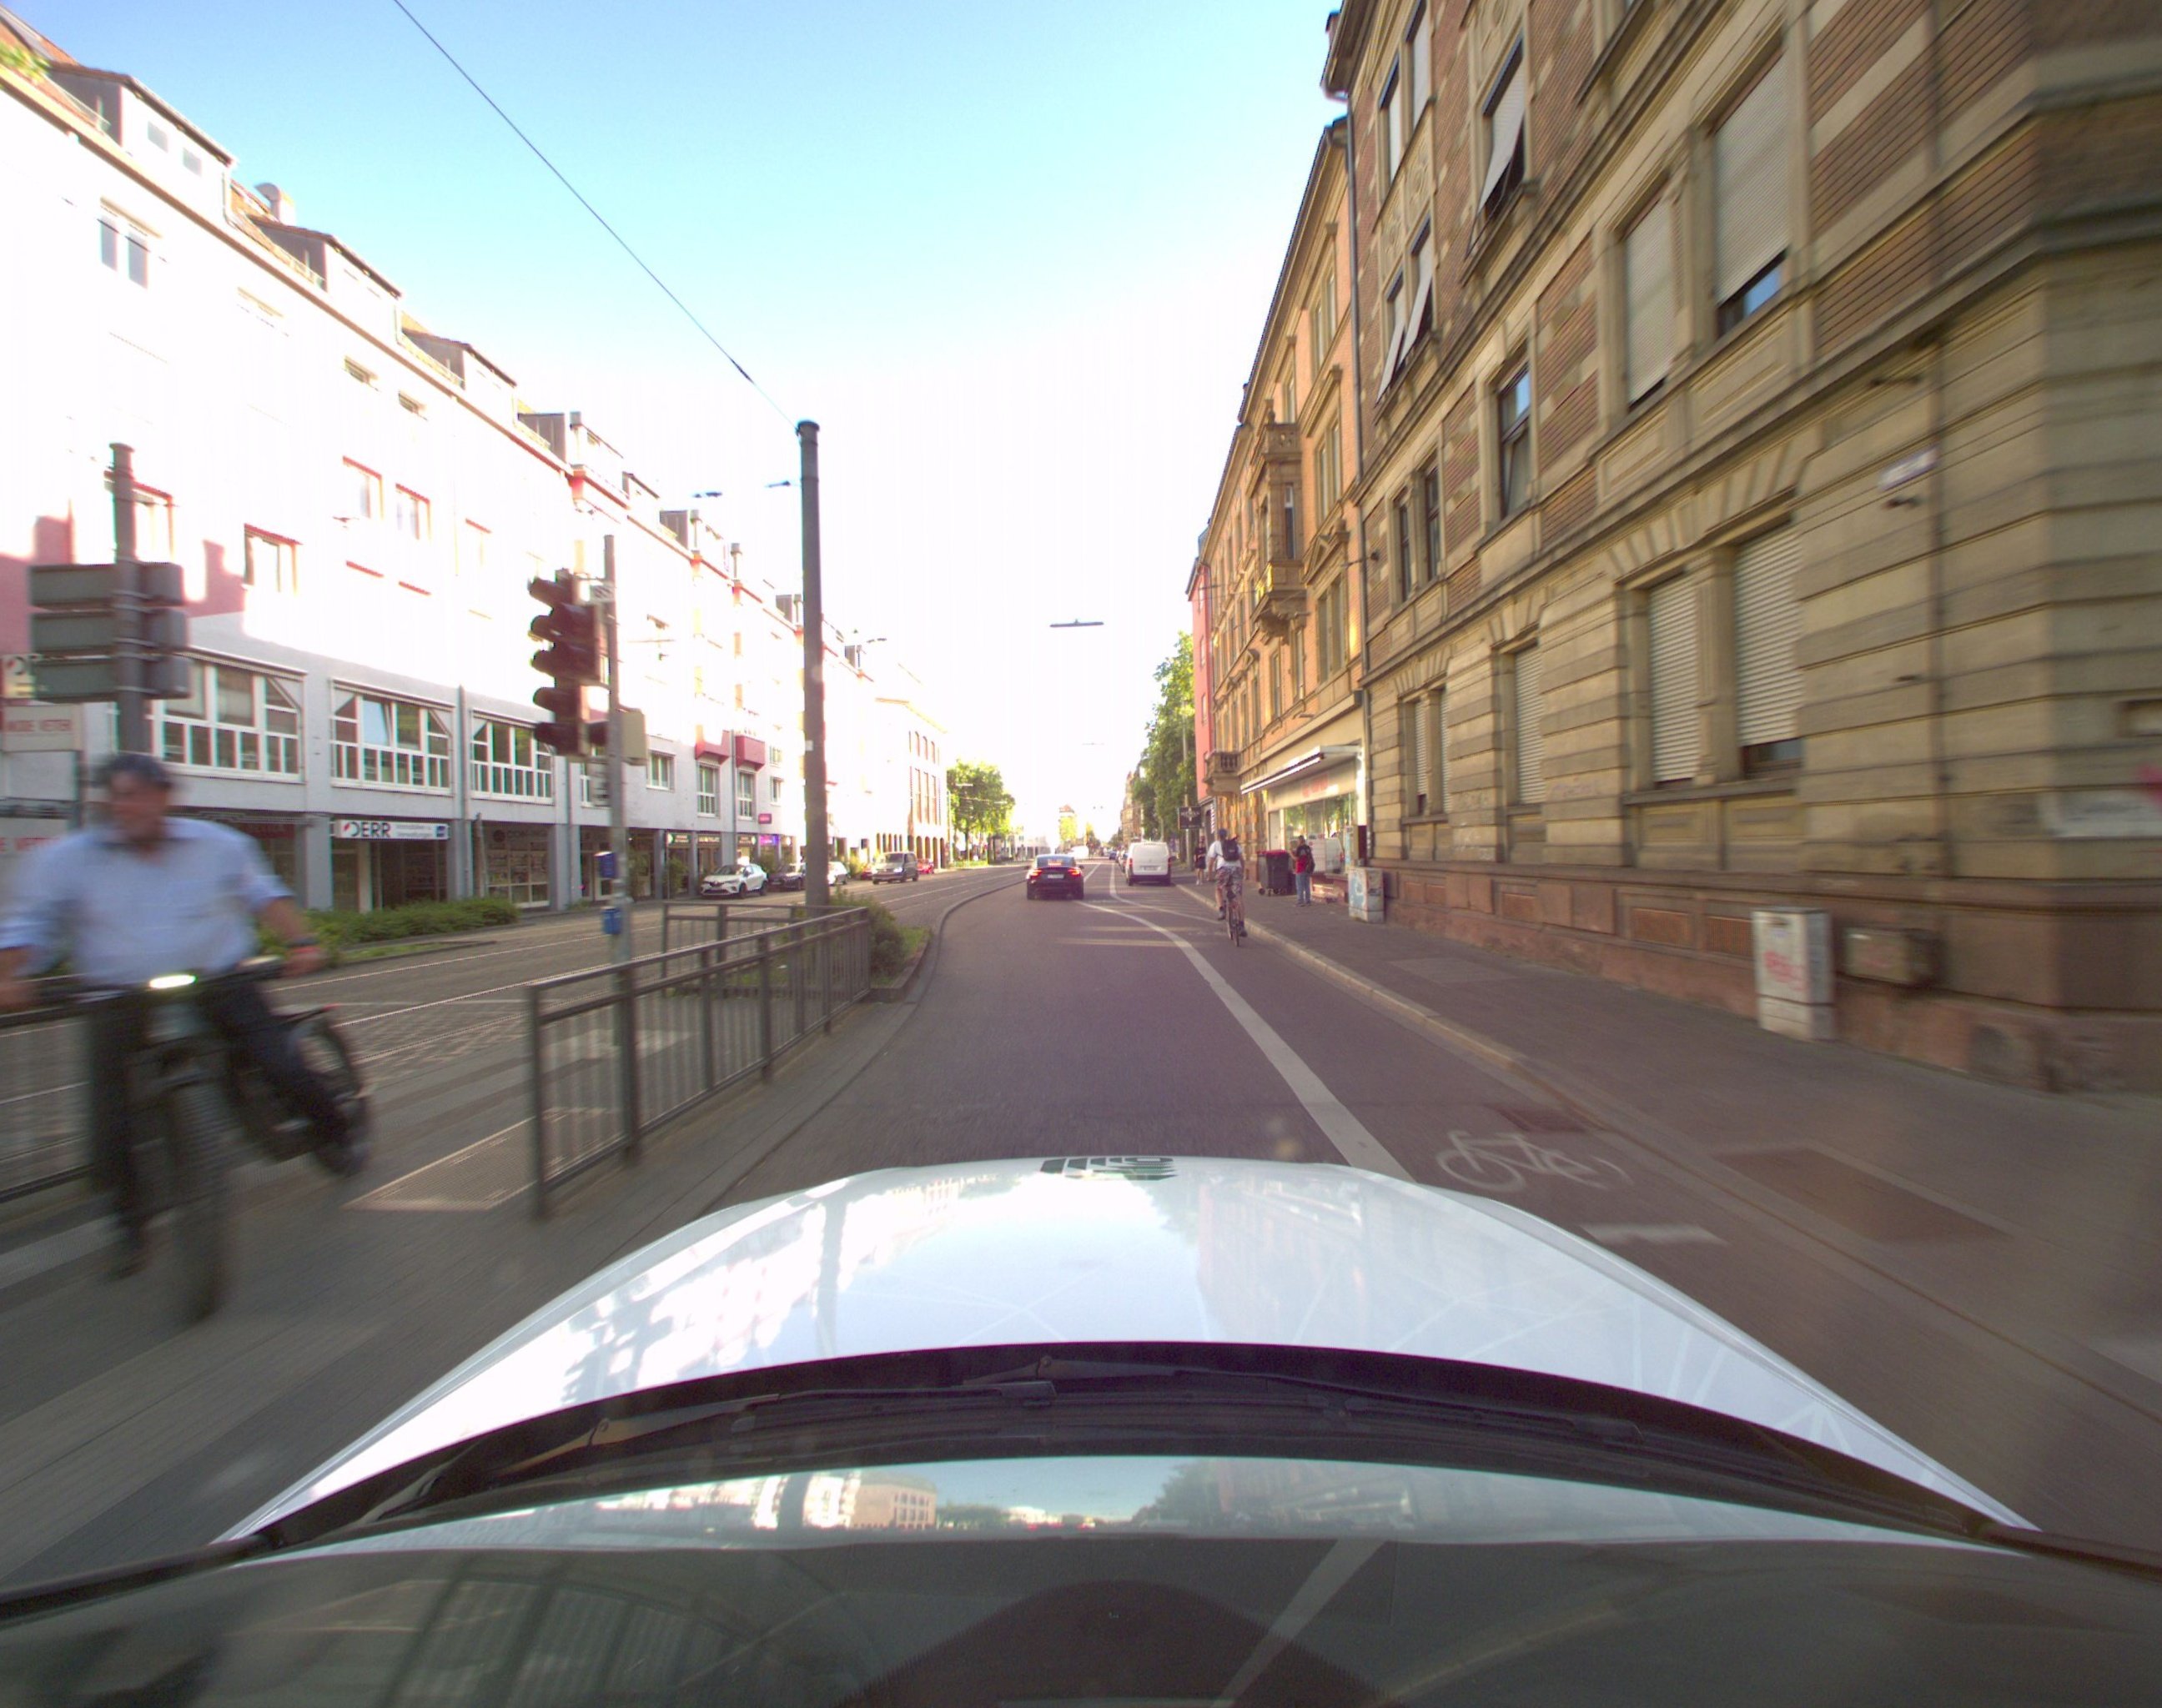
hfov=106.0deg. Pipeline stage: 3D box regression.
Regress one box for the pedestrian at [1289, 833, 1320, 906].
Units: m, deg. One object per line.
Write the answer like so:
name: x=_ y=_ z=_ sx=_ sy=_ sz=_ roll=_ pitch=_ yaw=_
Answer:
pedestrian: x=5.438 y=0.366 z=19.810 sx=0.465 sy=1.728 sz=0.591 roll=-2 pitch=1 yaw=38

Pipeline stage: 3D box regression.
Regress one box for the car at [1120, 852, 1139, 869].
car: x=4.698 y=0.587 z=79.211 sx=1.708 sy=1.590 sz=4.066 roll=0 pitch=0 yaw=1

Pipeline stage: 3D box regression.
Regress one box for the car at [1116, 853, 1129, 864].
car: x=5.467 y=0.615 z=108.239 sx=1.704 sy=1.457 sz=4.552 roll=0 pitch=0 yaw=2

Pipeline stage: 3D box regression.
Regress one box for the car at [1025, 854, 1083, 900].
car: x=-0.825 y=0.717 z=27.025 sx=1.713 sy=1.405 sz=3.710 roll=0 pitch=0 yaw=1

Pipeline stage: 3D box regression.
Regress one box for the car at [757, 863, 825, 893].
car: x=-15.861 y=1.257 z=44.893 sx=1.895 sy=1.458 sz=4.827 roll=-1 pitch=0 yaw=1

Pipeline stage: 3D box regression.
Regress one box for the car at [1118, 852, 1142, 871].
car: x=4.097 y=0.586 z=67.222 sx=1.741 sy=1.443 sz=4.323 roll=-1 pitch=0 yaw=7

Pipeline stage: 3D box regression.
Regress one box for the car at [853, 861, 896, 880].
car: x=-15.502 y=1.195 z=61.422 sx=1.953 sy=1.325 sz=4.821 roll=0 pitch=0 yaw=1

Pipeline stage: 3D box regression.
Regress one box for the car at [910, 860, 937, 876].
car: x=-14.781 y=1.282 z=76.536 sx=1.653 sy=1.422 sz=3.621 roll=0 pitch=0 yaw=2

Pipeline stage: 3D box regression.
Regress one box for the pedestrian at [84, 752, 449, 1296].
pedestrian: x=-3.234 y=0.566 z=3.284 sx=0.587 sy=1.821 sz=0.948 roll=0 pitch=0 yaw=35

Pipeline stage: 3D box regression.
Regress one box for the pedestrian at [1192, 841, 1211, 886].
pedestrian: x=4.949 y=0.392 z=33.467 sx=0.670 sy=1.814 sz=0.756 roll=-1 pitch=-1 yaw=1

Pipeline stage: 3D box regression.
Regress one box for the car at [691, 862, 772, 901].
car: x=-16.200 y=1.226 z=37.987 sx=1.912 sy=1.614 sz=4.368 roll=-1 pitch=0 yaw=-1

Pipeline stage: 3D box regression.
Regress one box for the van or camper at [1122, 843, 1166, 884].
van or camper: x=3.256 y=0.475 z=43.295 sx=1.964 sy=2.045 sz=5.331 roll=0 pitch=0 yaw=0

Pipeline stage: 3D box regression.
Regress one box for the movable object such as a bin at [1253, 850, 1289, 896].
movable object such as a bin: x=5.693 y=0.556 z=24.448 sx=0.773 sy=1.347 sz=1.299 roll=-1 pitch=0 yaw=0

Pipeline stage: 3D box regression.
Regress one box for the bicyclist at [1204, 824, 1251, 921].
bicyclist: x=2.566 y=0.317 z=14.363 sx=0.653 sy=1.655 sz=0.927 roll=-1 pitch=0 yaw=0

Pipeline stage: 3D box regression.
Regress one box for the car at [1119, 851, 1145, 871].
car: x=3.889 y=0.524 z=62.595 sx=1.796 sy=1.435 sz=4.323 roll=1 pitch=0 yaw=0

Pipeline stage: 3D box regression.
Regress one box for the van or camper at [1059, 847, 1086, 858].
van or camper: x=-2.177 y=-0.344 z=202.584 sx=6.918 sy=2.654 sz=2.121 roll=-2 pitch=-1 yaw=-42

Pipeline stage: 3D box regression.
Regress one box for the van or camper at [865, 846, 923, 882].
van or camper: x=-11.384 y=0.582 z=50.044 sx=1.984 sy=1.940 sz=4.840 roll=-4 pitch=0 yaw=5

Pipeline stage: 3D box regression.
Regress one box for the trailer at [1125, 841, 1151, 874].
trailer: x=3.805 y=0.243 z=54.603 sx=1.654 sy=2.117 sz=3.846 roll=0 pitch=0 yaw=3

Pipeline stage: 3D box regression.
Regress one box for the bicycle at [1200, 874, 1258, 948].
bicycle: x=2.569 y=0.958 z=14.323 sx=0.645 sy=1.139 sz=2.096 roll=-1 pitch=0 yaw=1

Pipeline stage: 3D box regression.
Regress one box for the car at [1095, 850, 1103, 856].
car: x=5.178 y=-0.351 z=233.174 sx=1.988 sy=1.525 sz=3.997 roll=-2 pitch=0 yaw=-2

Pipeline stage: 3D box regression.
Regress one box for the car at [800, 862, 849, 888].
car: x=-15.718 y=1.245 z=50.130 sx=1.746 sy=1.474 sz=4.206 roll=-1 pitch=0 yaw=-1

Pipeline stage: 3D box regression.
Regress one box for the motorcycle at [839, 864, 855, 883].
motorcycle: x=-16.845 y=1.423 z=58.672 sx=0.517 sy=1.297 sz=2.082 roll=0 pitch=0 yaw=1

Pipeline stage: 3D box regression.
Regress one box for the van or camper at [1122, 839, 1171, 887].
van or camper: x=2.919 y=0.390 z=37.201 sx=1.924 sy=2.037 sz=5.477 roll=0 pitch=-1 yaw=1

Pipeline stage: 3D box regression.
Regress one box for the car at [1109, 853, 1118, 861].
car: x=6.363 y=0.638 z=158.666 sx=1.587 sy=1.433 sz=3.689 roll=-2 pitch=0 yaw=3

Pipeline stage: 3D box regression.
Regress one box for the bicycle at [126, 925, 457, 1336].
bicycle: x=-3.286 y=0.926 z=3.325 sx=1.920 sy=1.094 sz=0.602 roll=2 pitch=0 yaw=35
